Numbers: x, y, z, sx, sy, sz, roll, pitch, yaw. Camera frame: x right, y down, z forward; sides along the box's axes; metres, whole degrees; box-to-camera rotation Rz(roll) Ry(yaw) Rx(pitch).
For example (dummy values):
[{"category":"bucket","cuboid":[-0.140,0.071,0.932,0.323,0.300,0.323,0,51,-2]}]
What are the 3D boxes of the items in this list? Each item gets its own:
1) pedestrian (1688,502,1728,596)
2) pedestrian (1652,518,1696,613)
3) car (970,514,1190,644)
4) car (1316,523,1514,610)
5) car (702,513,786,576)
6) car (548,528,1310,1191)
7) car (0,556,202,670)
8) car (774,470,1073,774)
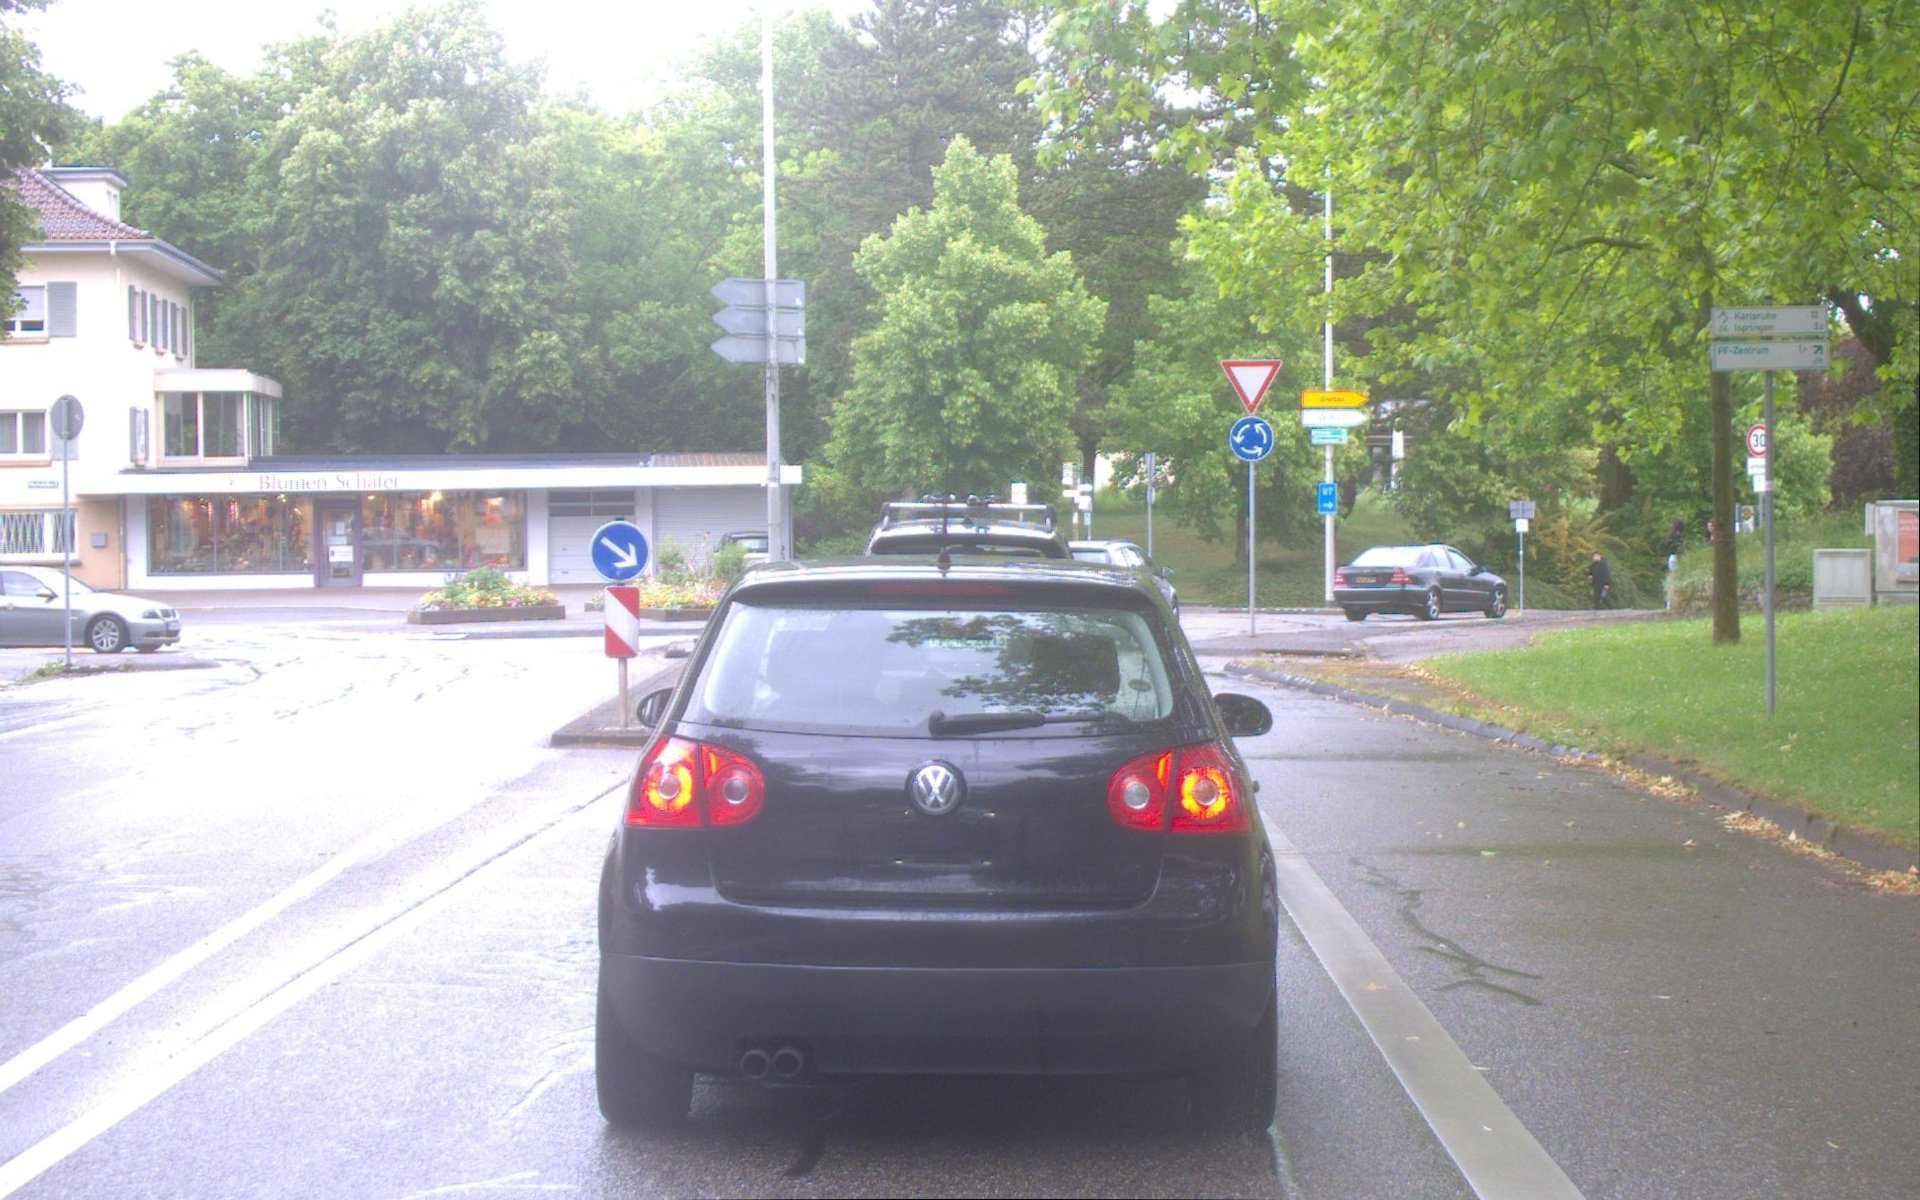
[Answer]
[{"category":"pedestrian","cuboid":[13.673,-0.926,62.830,0.634,1.707,0.529,1,0,17]},{"category":"pedestrian","cuboid":[12.903,-0.625,62.119,0.528,1.707,0.636,1,0,-14]},{"category":"car","cuboid":[1.753,-0.297,48.825,1.995,1.735,4.140,1,1,19]},{"category":"car","cuboid":[8.361,-0.598,62.936,1.997,1.525,3.992,1,1,34]},{"category":"car","cuboid":[-5.344,-1.379,84.691,1.812,1.481,3.832,-2,1,-7]},{"category":"car","cuboid":[-0.114,0.591,10.083,1.764,1.533,4.000,1,1,-1]},{"category":"car","cuboid":[-13.987,0.170,53.063,4.020,1.678,1.999,1,1,7]},{"category":"car","cuboid":[-0.264,0.112,22.909,1.764,1.795,4.246,-1,1,-1]}]
